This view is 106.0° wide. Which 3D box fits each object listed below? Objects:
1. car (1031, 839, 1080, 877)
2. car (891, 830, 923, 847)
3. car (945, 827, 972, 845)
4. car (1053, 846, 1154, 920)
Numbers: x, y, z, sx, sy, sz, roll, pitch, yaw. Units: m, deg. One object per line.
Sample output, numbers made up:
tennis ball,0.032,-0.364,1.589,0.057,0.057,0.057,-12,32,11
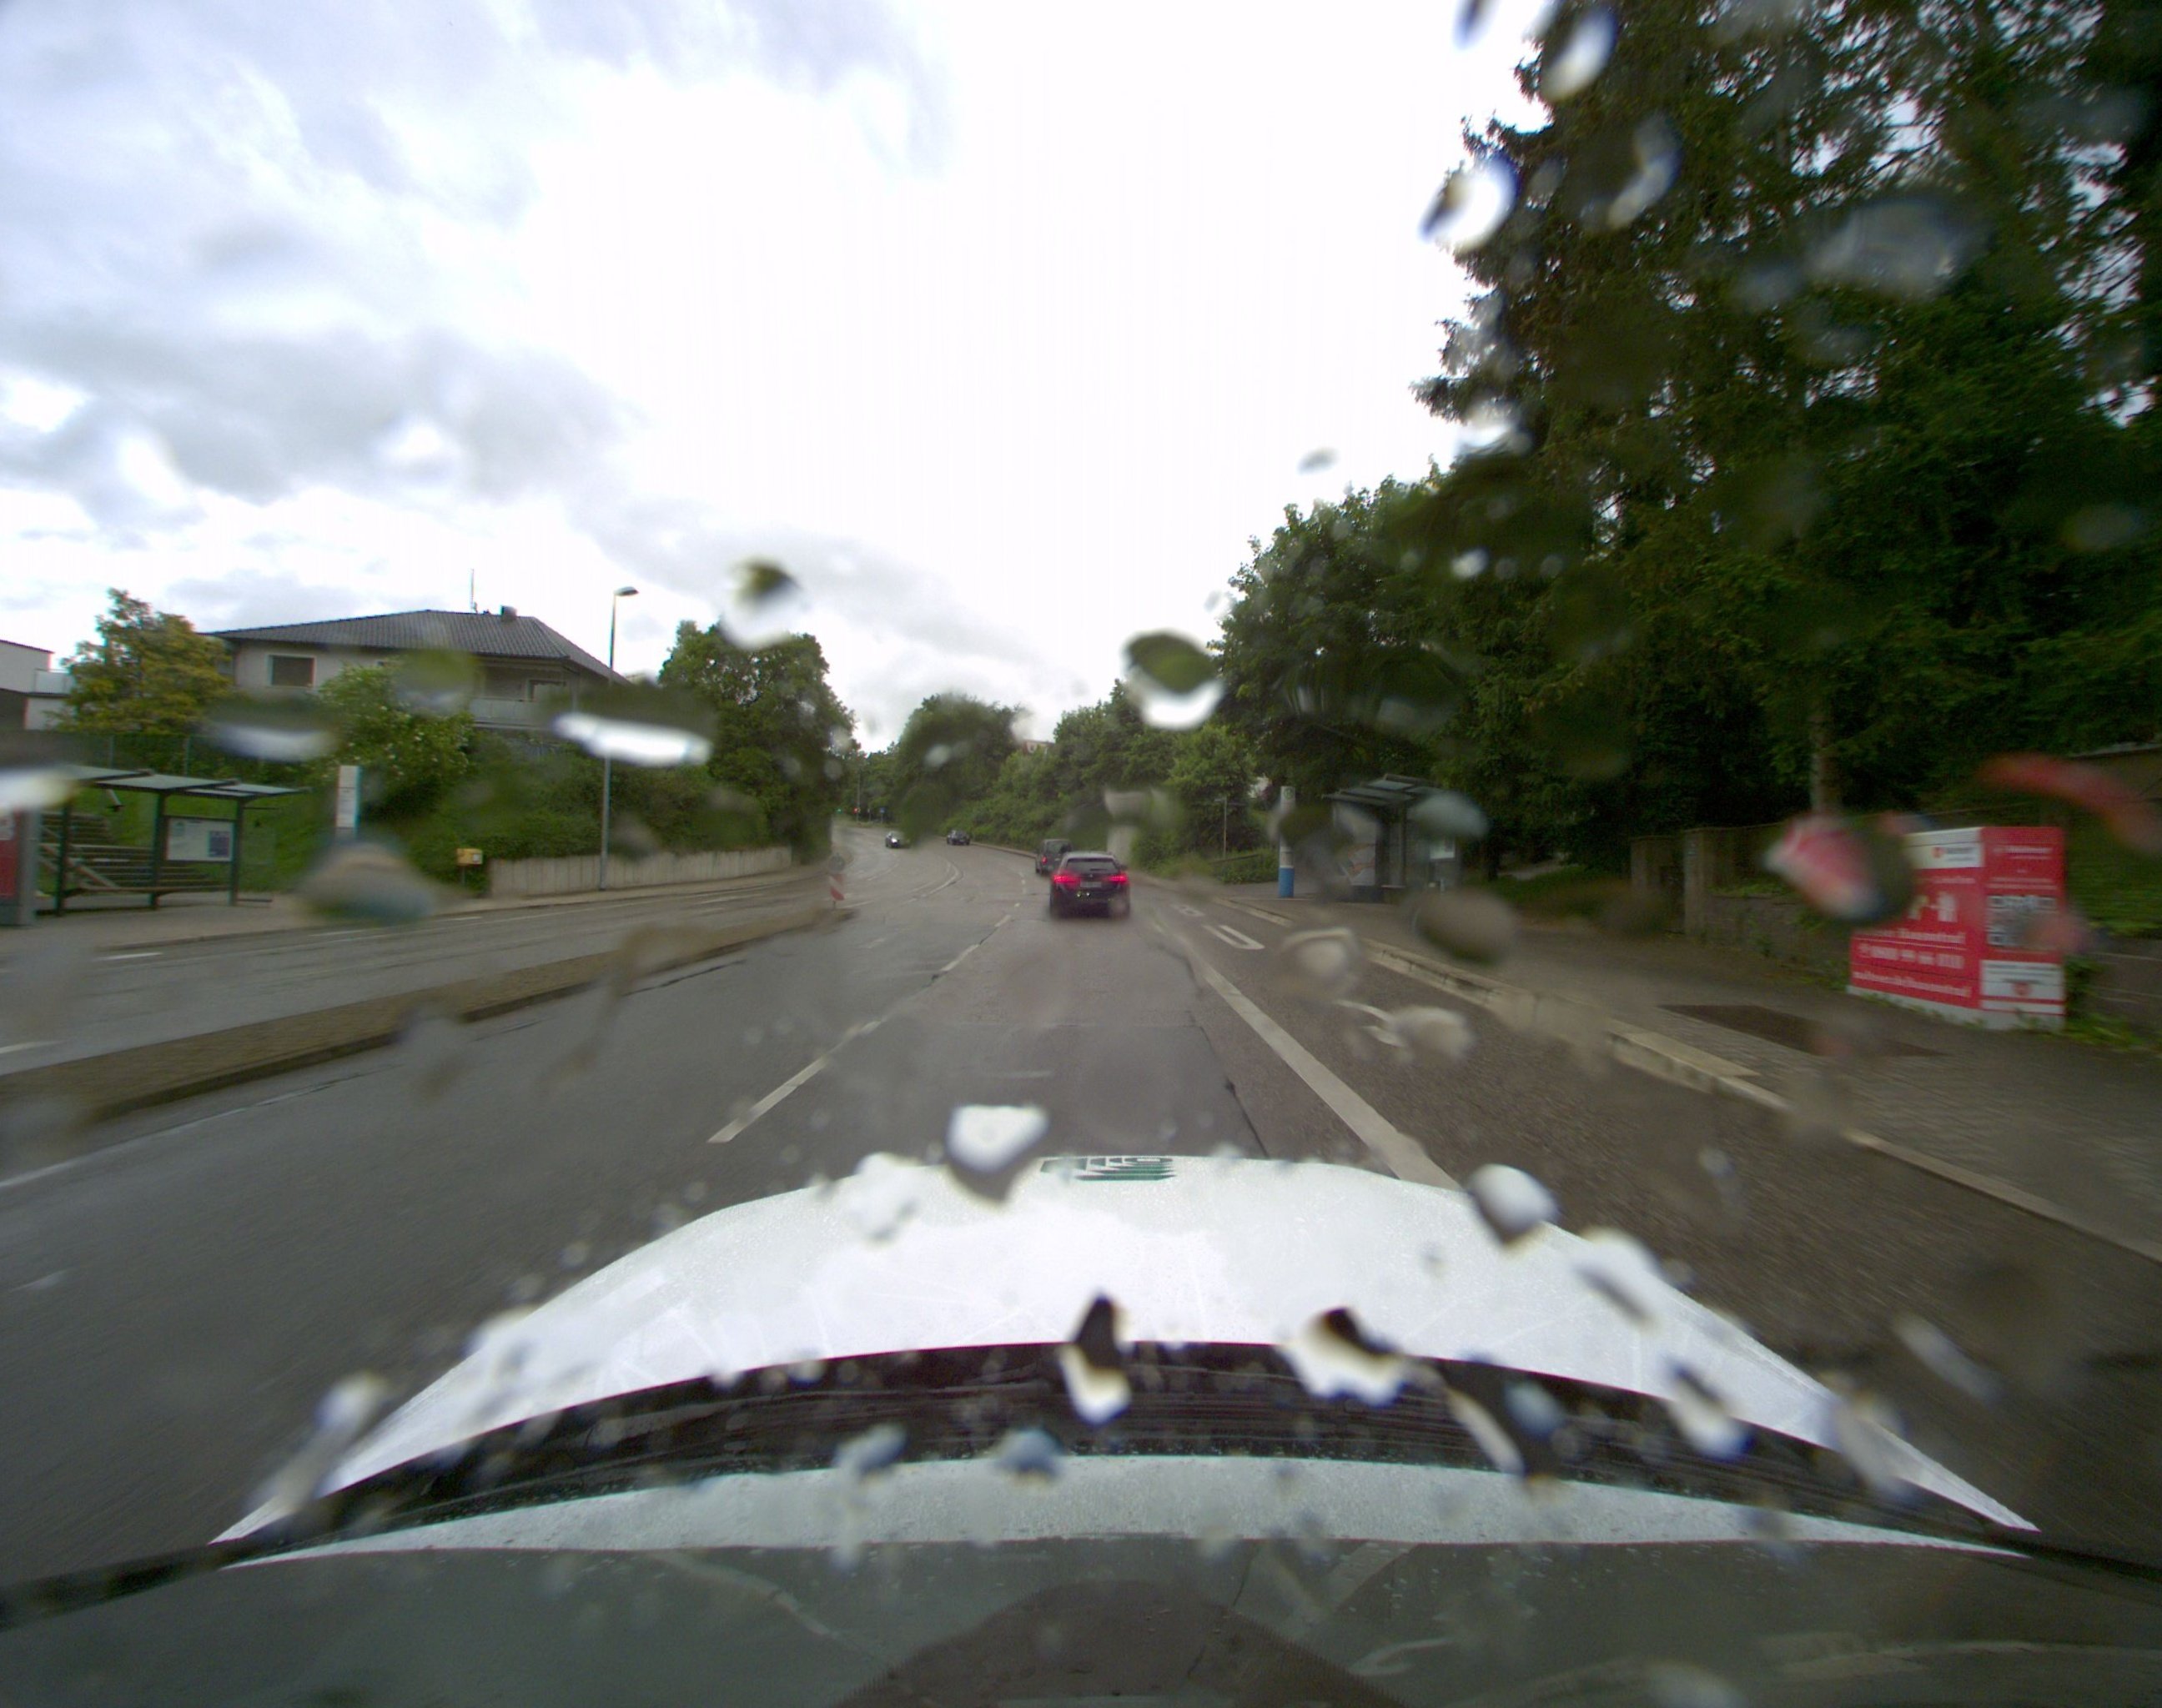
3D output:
car,-1.356,0.151,41.726,1.994,1.748,3.987,0,2,-10
car,-15.934,-1.377,74.543,1.902,1.487,4.198,-1,1,-26
car,-12.403,-1.781,82.319,1.858,1.662,3.971,1,-1,-21
car,0.421,0.627,20.382,1.990,1.586,4.655,1,1,-5
